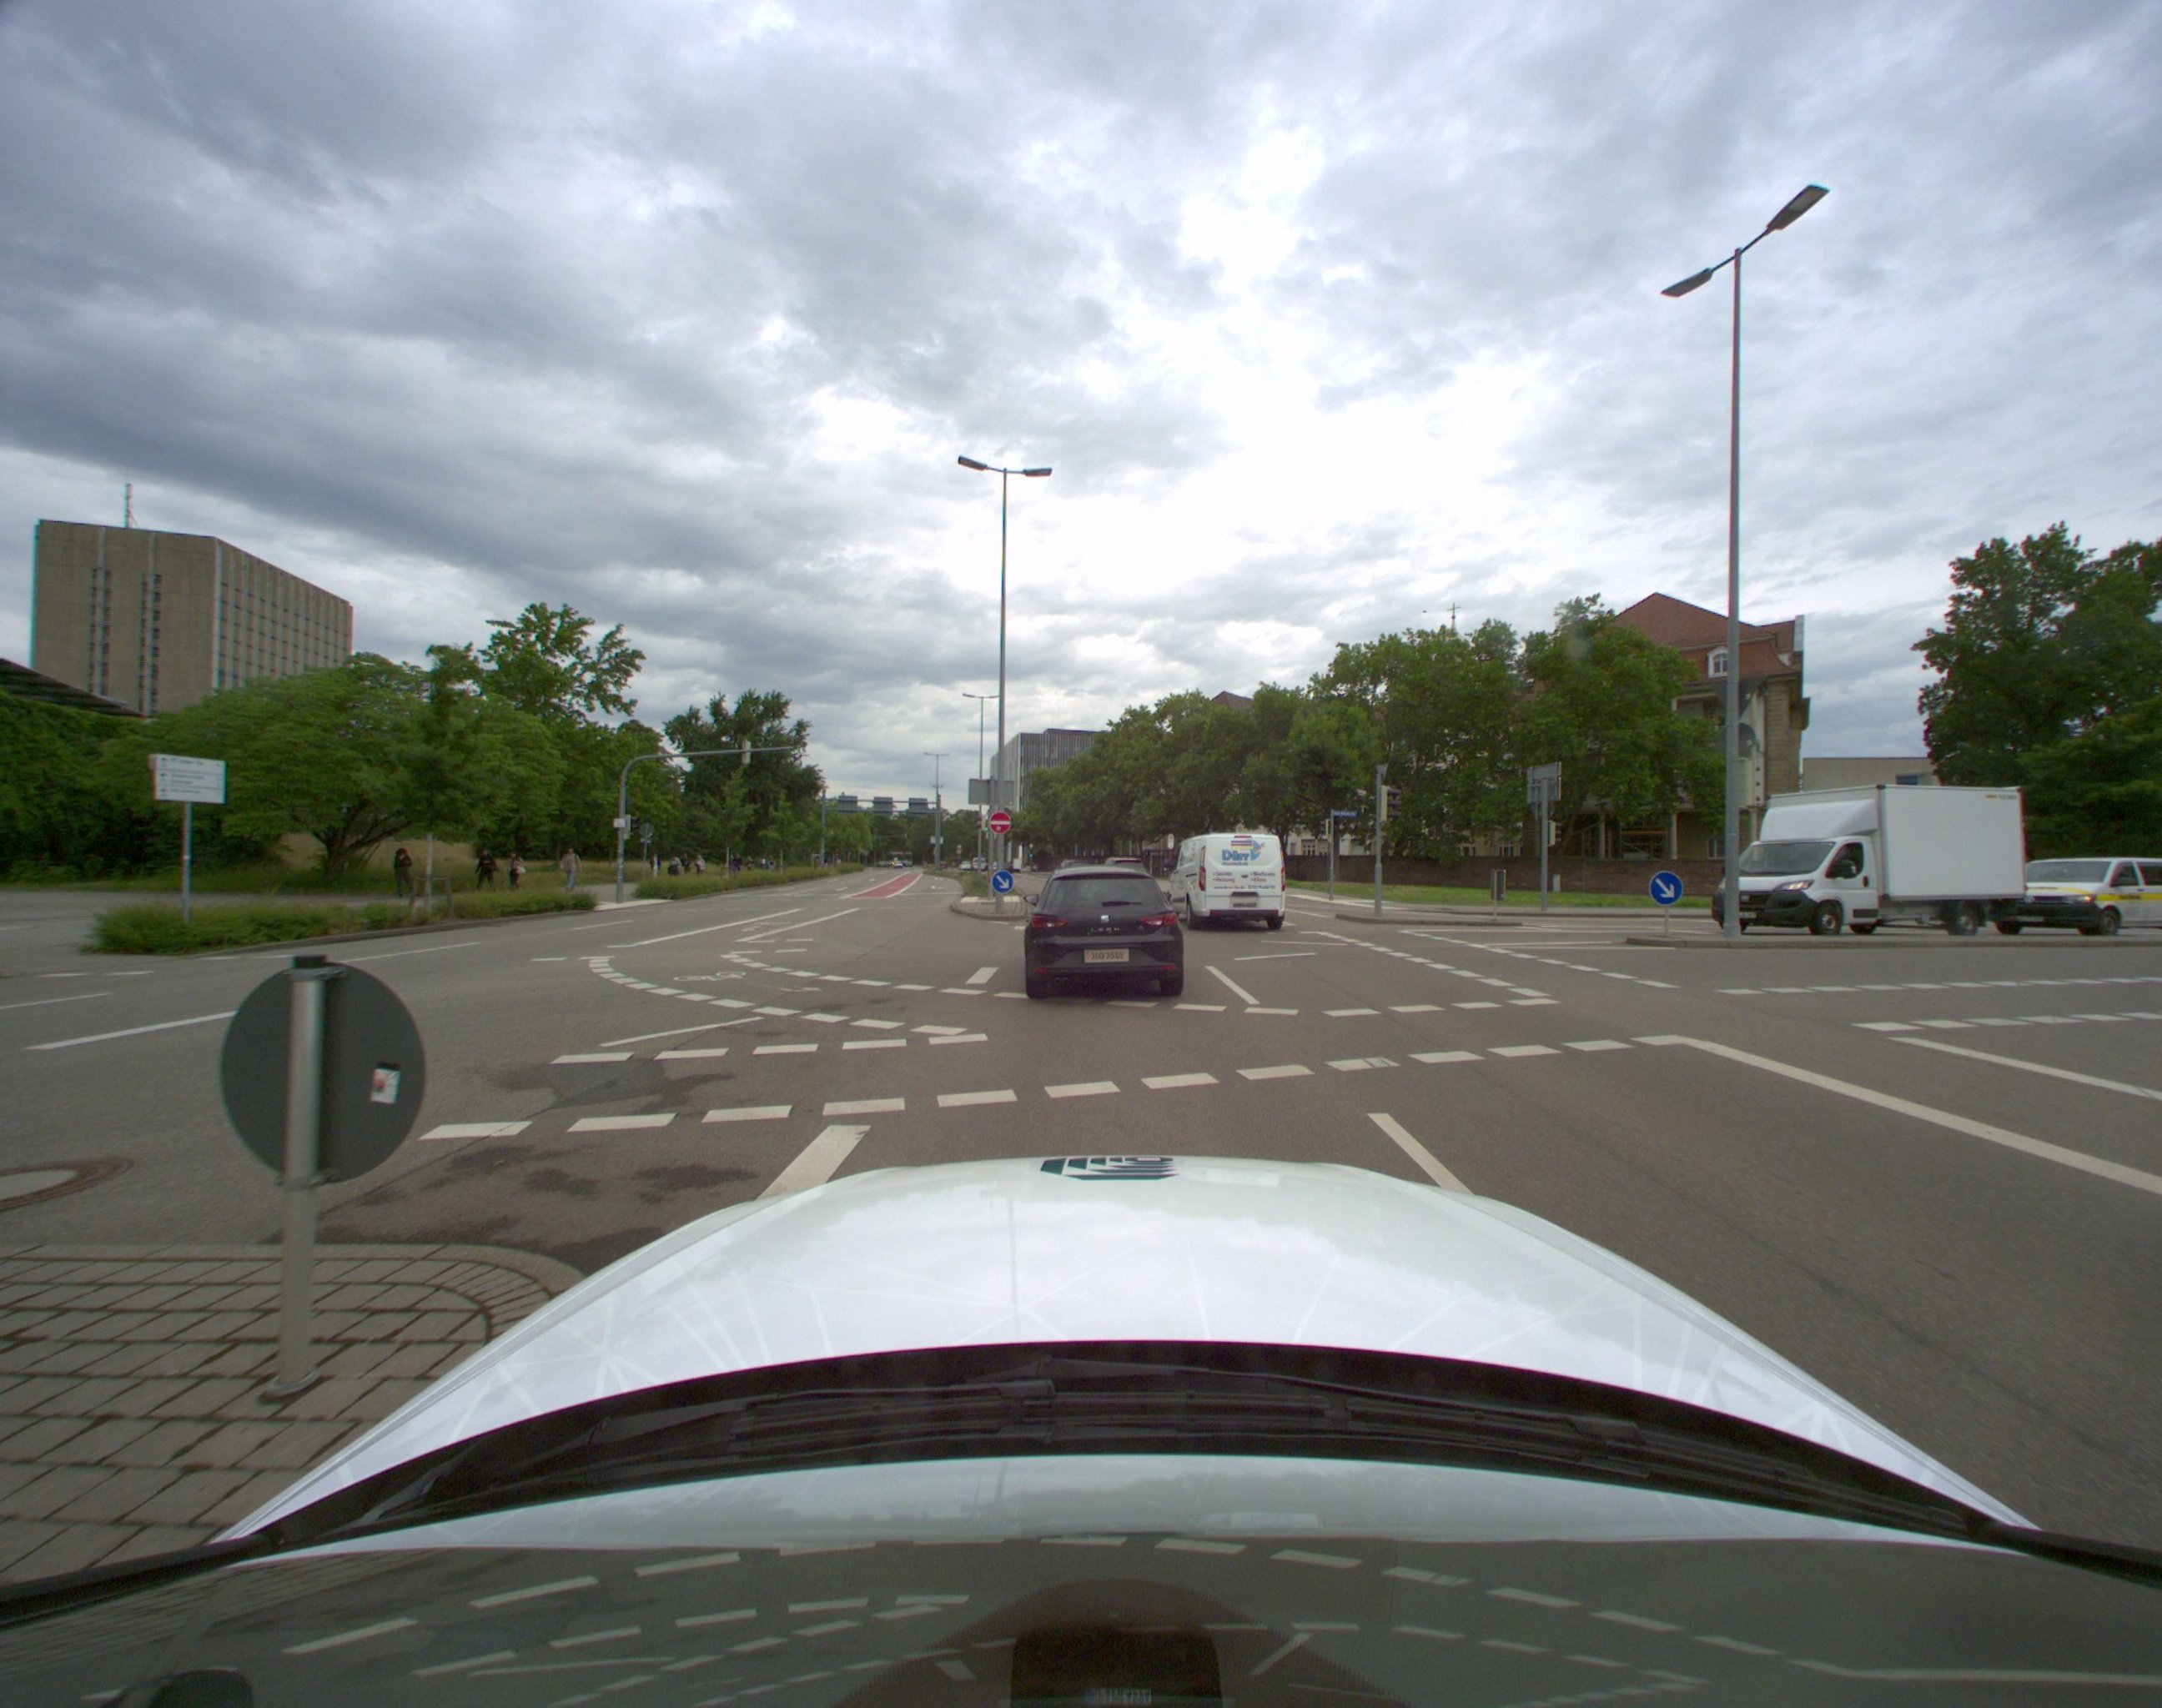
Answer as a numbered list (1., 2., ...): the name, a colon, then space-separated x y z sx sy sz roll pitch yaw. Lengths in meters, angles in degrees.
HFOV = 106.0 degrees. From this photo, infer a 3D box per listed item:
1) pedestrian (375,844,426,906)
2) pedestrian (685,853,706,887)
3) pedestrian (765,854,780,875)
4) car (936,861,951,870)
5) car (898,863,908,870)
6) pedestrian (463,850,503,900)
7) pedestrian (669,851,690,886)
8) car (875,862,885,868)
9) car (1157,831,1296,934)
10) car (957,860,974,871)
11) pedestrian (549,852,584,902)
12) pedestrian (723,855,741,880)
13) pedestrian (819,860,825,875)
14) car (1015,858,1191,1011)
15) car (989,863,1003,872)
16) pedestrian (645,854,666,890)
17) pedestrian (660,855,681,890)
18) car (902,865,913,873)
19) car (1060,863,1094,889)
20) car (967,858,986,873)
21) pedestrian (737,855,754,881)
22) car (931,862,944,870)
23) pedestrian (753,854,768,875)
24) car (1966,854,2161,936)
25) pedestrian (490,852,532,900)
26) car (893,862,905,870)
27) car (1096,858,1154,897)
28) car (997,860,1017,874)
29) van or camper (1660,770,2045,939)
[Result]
1. pedestrian: -22.321 0.677 26.725 0.753 2.014 1.046 0 -1 -1
2. pedestrian: -23.060 0.930 48.724 0.753 2.014 1.045 0 -1 -5
3. pedestrian: -25.980 0.891 68.547 0.918 1.779 1.061 1 -1 -9
4. car: -26.519 2.216 157.184 2.002 1.682 3.980 1 -1 -22
5. car: -47.394 3.344 217.218 2.001 1.780 3.971 1 -1 -22
6. pedestrian: -21.678 0.744 29.528 0.753 1.765 0.906 0 -1 -1
7. pedestrian: -23.866 0.862 48.376 0.753 2.014 1.045 0 -1 -5
8. car: -44.892 2.423 182.080 1.883 1.416 3.833 1 -1 -17
9. car: 3.111 0.586 18.546 1.989 2.019 5.025 1 0 -3
10. car: -18.415 1.804 129.838 1.999 1.640 3.976 1 -1 -18
11. pedestrian: -21.085 0.923 33.411 0.753 2.014 1.046 0 -1 -1
12. pedestrian: -24.855 0.963 57.953 0.918 1.779 1.061 1 -1 -9
13. pedestrian: -35.748 1.855 112.544 0.666 2.014 0.595 1 -1 -4
14. car: 0.142 0.886 10.284 1.742 1.464 3.995 -2 -2 -3
15. car: -12.201 1.919 116.667 1.528 1.365 2.954 1 -1 -15
16. pedestrian: -22.804 0.957 43.638 0.712 1.870 0.756 0 -1 -5
17. pedestrian: -22.006 0.985 43.640 0.712 1.870 0.757 0 -1 -3
18. car: -40.968 3.500 191.789 2.001 1.780 3.972 1 -1 -21
19. car: -0.310 1.376 52.734 1.989 1.566 4.199 1 0 -3
20. car: -14.392 1.538 111.891 1.998 2.014 3.977 1 -1 -17
21. pedestrian: -23.938 0.985 58.115 0.918 1.779 1.061 1 -1 -9
22. car: -25.024 2.087 141.834 1.717 1.265 3.317 1 -1 -20
23. pedestrian: -26.905 0.873 68.371 0.918 1.779 1.061 1 -1 -9
24. car: 25.065 1.026 20.189 4.994 1.865 1.990 1 -4 -14
25. pedestrian: -20.856 0.799 29.809 0.753 1.713 1.046 0 -1 -1
26. car: -35.546 2.376 158.966 1.692 1.416 3.619 1 -1 -20
27. car: 1.862 0.991 35.516 1.856 1.600 4.195 1 0 -7
28. car: -9.622 1.675 105.674 1.920 1.684 3.980 1 -1 -15
29. van or camper: 17.199 0.087 18.300 7.138 3.332 2.863 1 -2 -14
